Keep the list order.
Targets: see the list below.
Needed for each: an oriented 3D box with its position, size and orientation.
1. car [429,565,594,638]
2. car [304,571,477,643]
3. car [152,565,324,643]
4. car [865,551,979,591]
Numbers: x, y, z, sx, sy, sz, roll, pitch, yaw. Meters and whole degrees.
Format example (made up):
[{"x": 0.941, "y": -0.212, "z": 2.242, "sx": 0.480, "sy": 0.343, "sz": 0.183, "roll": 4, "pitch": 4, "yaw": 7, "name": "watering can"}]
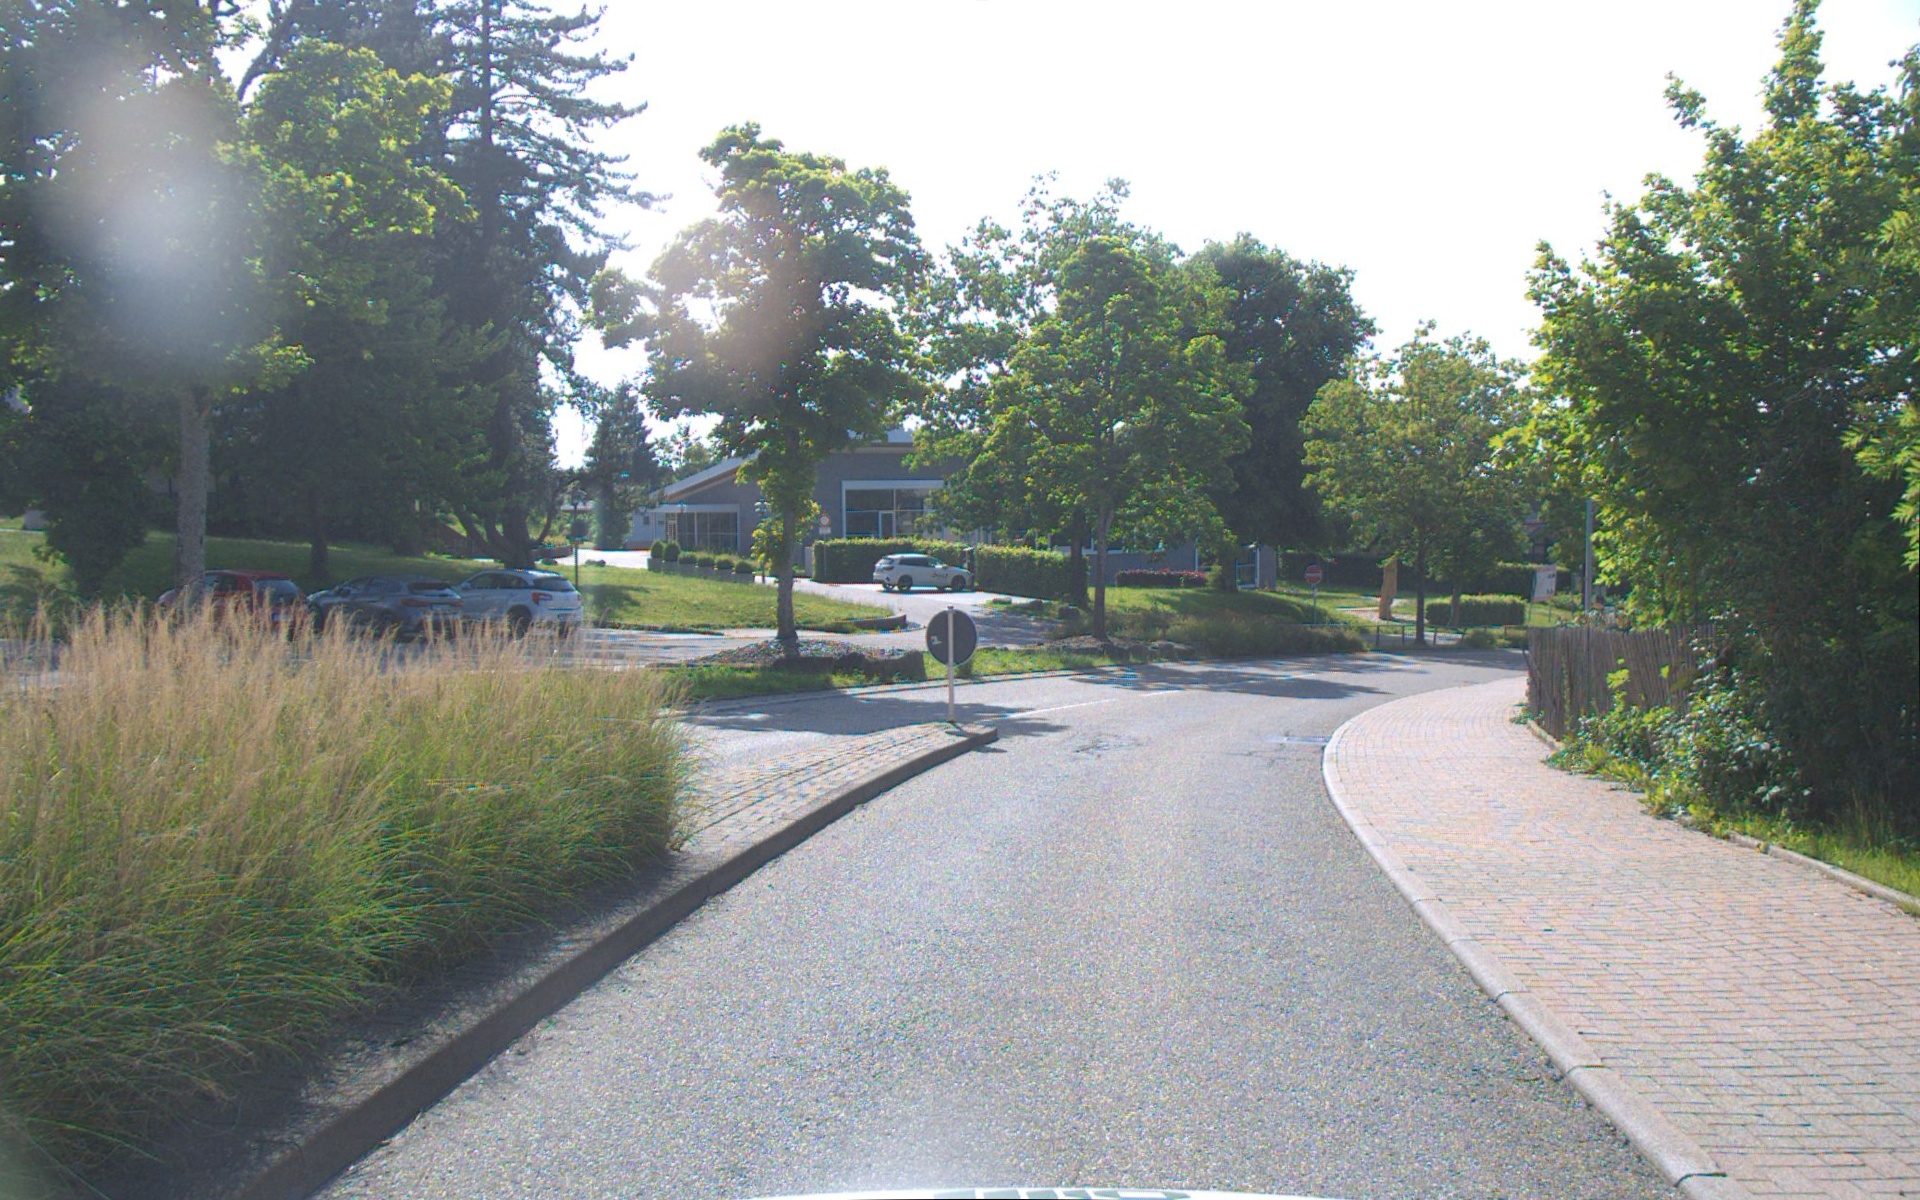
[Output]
[{"x": -11.278, "y": 0.027, "z": 41.557, "sx": 3.855, "sy": 1.637, "sz": 1.773, "roll": 3, "pitch": 1, "yaw": 29, "name": "car"}, {"x": -13.055, "y": 0.146, "z": 37.896, "sx": 3.633, "sy": 1.458, "sz": 1.773, "roll": 3, "pitch": 1, "yaw": 30, "name": "car"}, {"x": -15.387, "y": 0.071, "z": 35.260, "sx": 3.137, "sy": 1.496, "sz": 1.774, "roll": 3, "pitch": 1, "yaw": 28, "name": "car"}, {"x": -1.671, "y": -1.303, "z": 73.102, "sx": 4.661, "sy": 1.560, "sz": 1.983, "roll": -2, "pitch": 6, "yaw": -28, "name": "car"}]
